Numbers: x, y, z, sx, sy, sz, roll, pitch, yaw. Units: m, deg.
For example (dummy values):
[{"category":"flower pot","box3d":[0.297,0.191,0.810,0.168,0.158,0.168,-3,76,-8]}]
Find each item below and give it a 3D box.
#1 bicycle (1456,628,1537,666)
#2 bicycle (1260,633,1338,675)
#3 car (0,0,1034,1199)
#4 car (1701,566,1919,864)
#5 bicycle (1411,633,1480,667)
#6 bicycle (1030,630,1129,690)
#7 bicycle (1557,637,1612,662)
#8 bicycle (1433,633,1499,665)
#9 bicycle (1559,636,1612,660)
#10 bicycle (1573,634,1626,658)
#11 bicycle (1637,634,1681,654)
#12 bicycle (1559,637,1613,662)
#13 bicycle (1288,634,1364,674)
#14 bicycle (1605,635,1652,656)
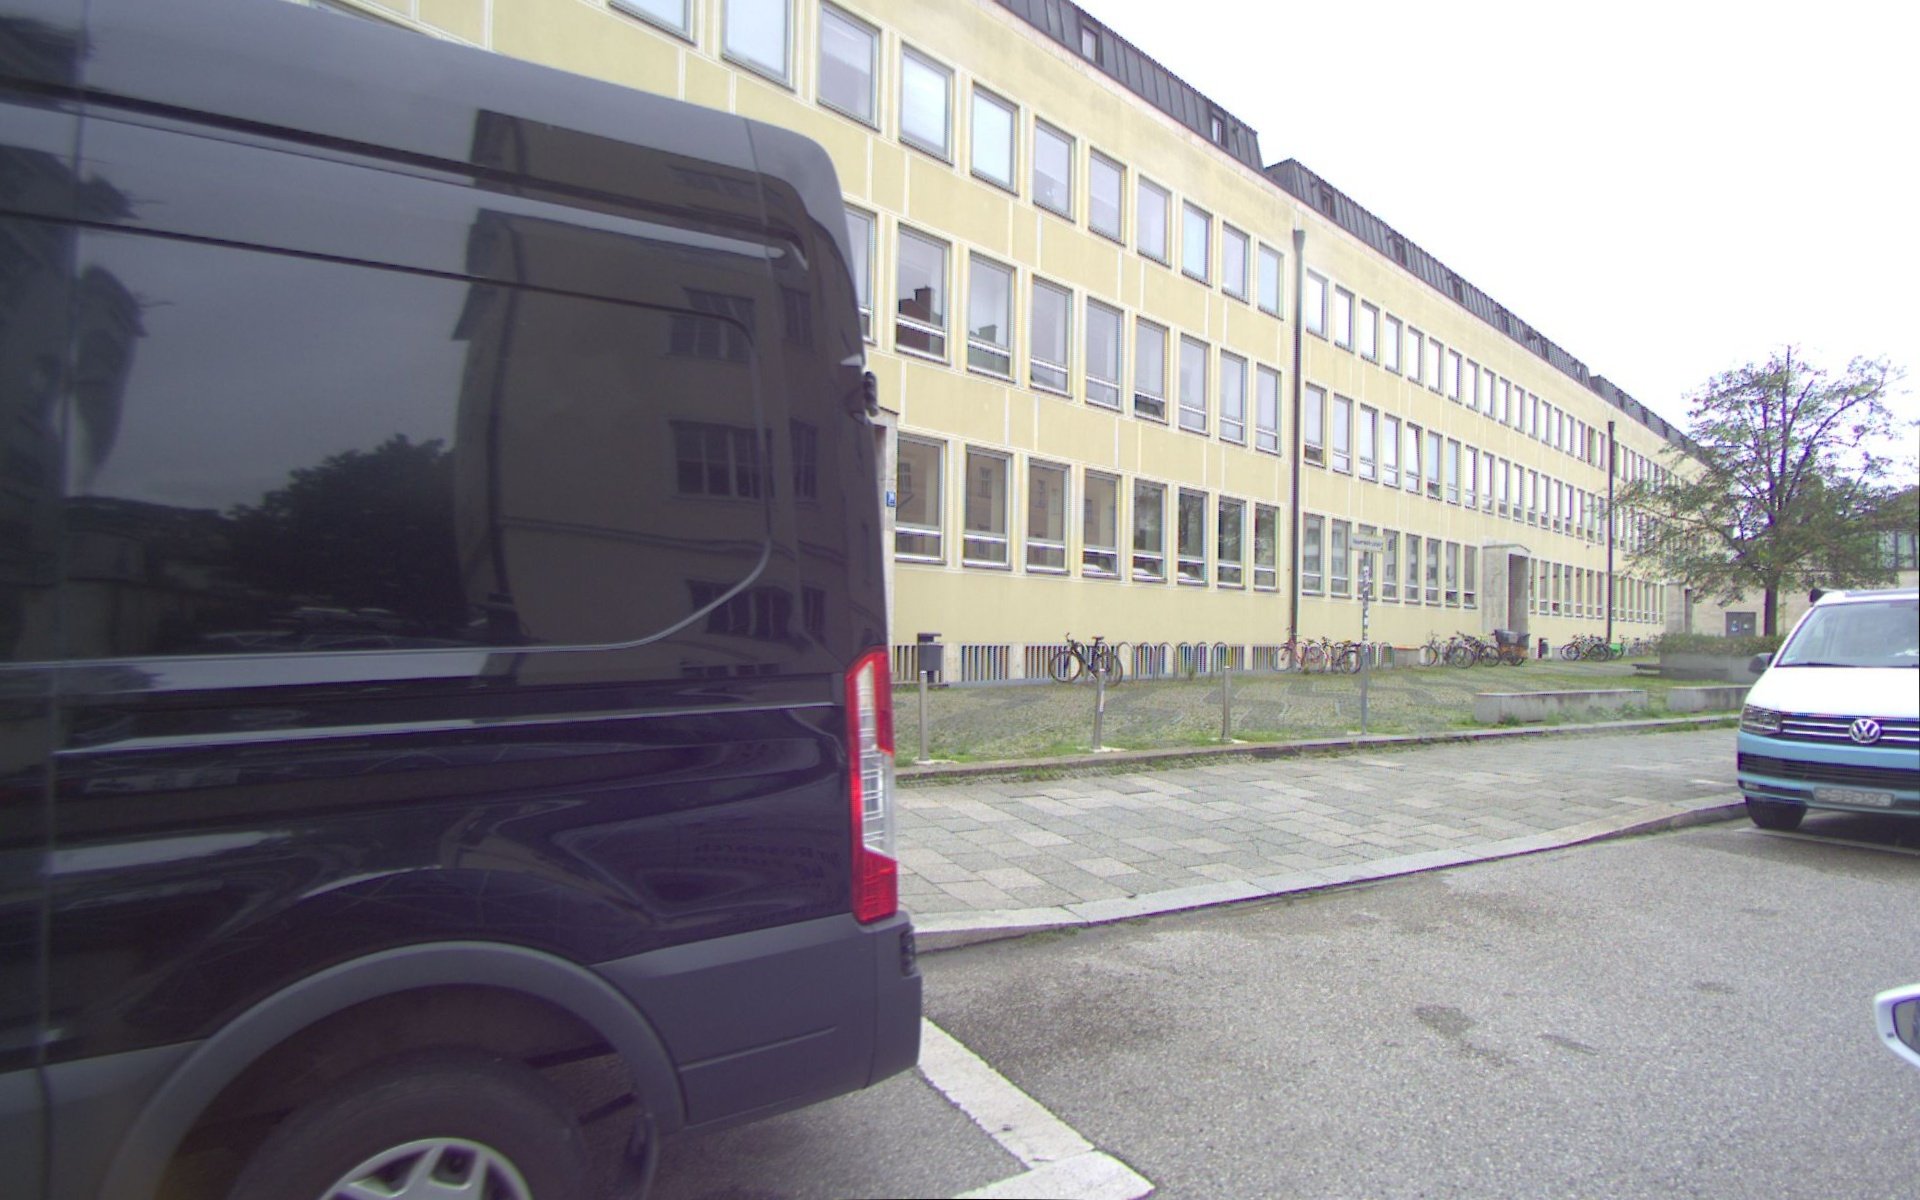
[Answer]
[{"category":"bicycle","box3d":[19.378,1.684,36.297,2.408,1.265,1.050,0,-1,44]},{"category":"bicycle","box3d":[9.017,1.416,26.769,0.620,1.028,1.931,2,-1,-39]},{"category":"car","box3d":[-2.806,0.202,2.003,5.584,2.680,2.288,2,-3,-29]},{"category":"car","box3d":[8.393,0.857,8.398,4.969,2.005,1.917,2,-3,-33]},{"category":"bicycle","box3d":[15.838,1.616,32.796,1.926,1.028,0.622,0,-1,44]},{"category":"bicycle","box3d":[2.304,1.140,19.565,1.925,1.028,0.578,2,0,43]},{"category":"bicycle","box3d":[26.777,2.105,43.100,0.620,1.028,1.930,2,-1,-40]},{"category":"bicycle","box3d":[17.408,1.673,34.587,1.926,1.028,0.622,0,-1,44]},{"category":"bicycle","box3d":[27.921,2.130,44.870,0.621,1.028,1.928,2,-1,-43]},{"category":"bicycle","box3d":[29.114,2.091,45.735,0.621,1.028,1.928,2,-1,-43]},{"category":"bicycle","box3d":[38.577,2.413,55.430,1.926,1.028,0.622,0,-1,44]},{"category":"bicycle","box3d":[27.268,2.136,43.774,0.621,1.028,1.928,2,-1,-43]},{"category":"bicycle","box3d":[10.080,1.476,27.719,0.620,1.028,1.931,2,-1,-39]},{"category":"bicycle","box3d":[34.427,2.346,51.716,0.619,1.028,1.933,2,-1,-36]}]
